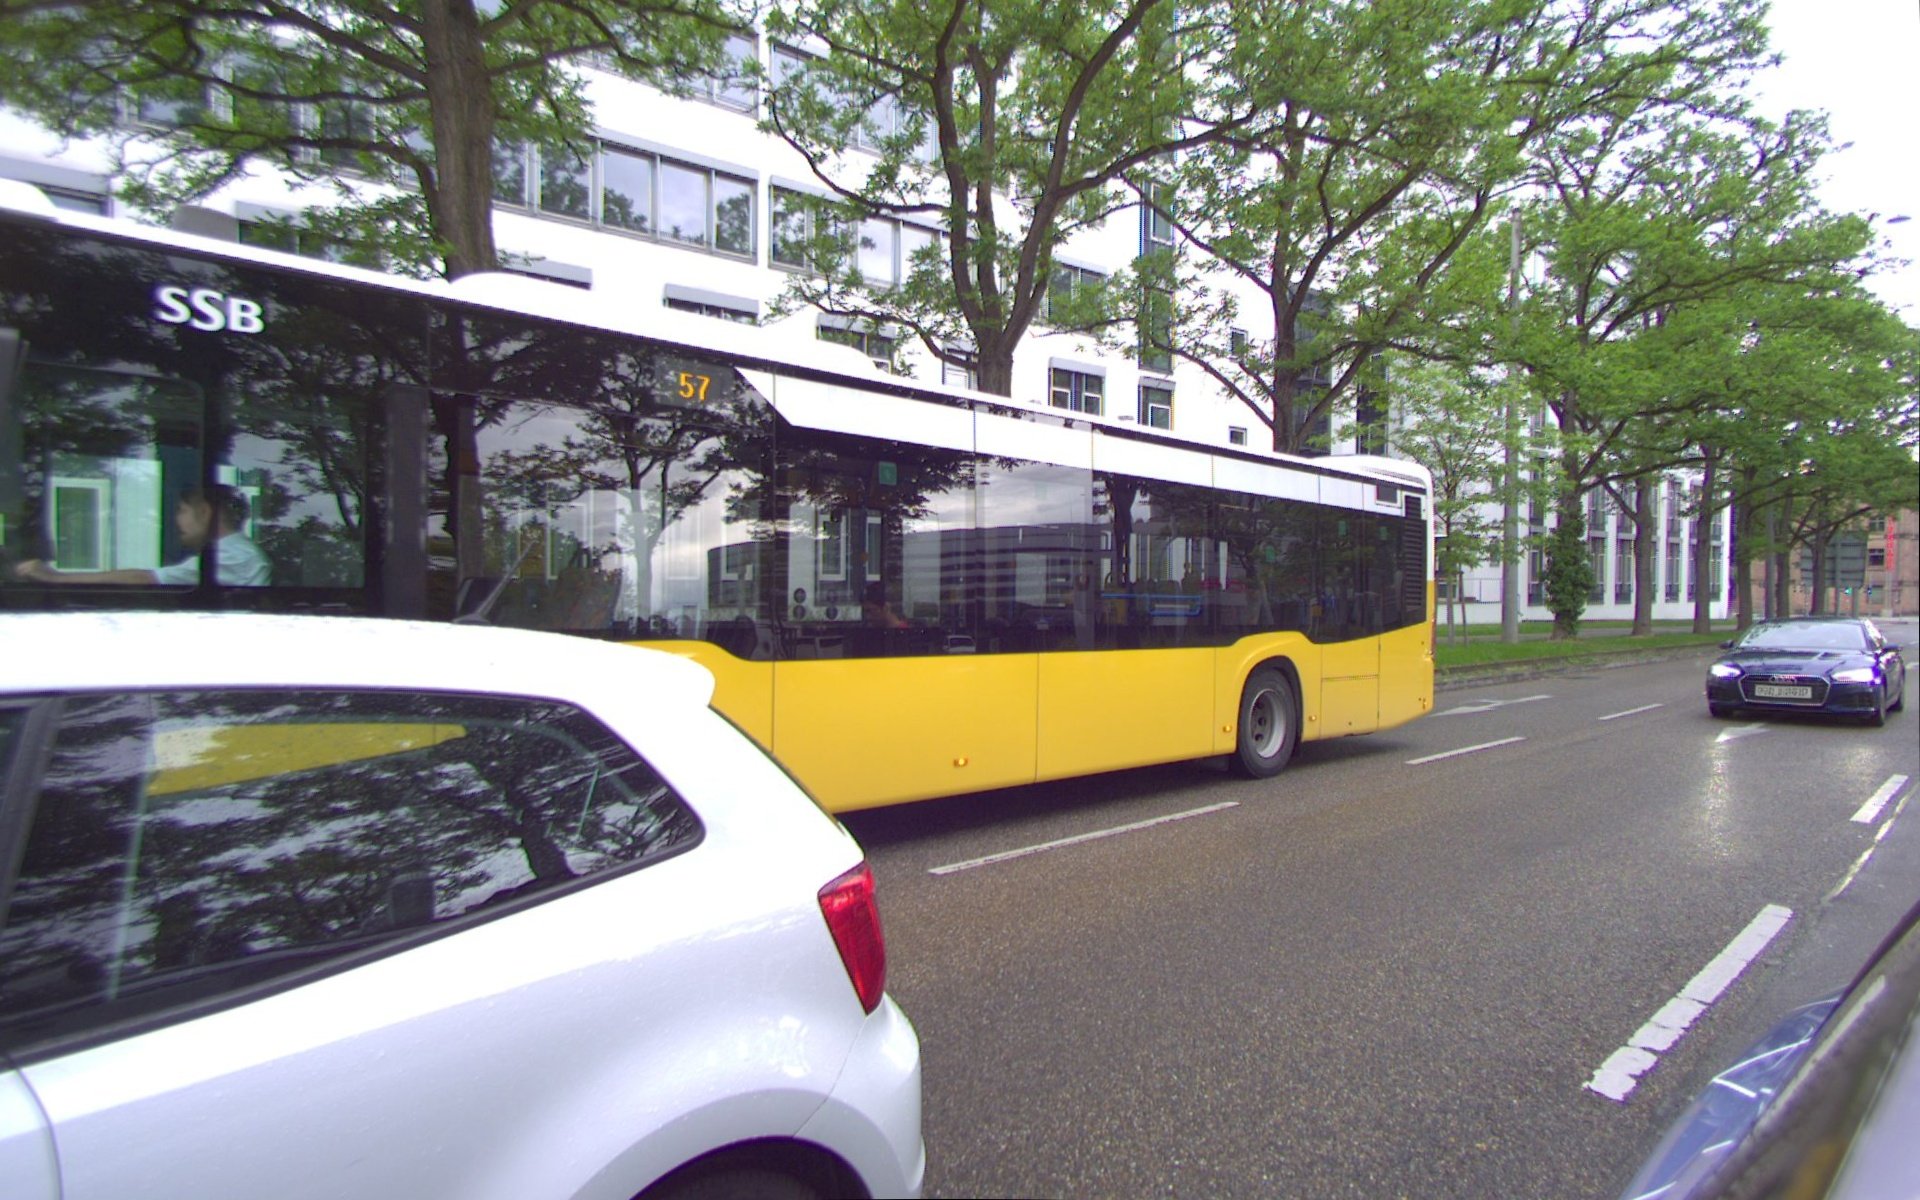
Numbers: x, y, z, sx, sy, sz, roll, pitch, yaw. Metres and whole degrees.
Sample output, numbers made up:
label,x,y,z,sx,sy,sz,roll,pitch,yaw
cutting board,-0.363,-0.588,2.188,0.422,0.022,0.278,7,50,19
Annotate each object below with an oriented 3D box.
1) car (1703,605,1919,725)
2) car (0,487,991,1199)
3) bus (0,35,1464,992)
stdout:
label,x,y,z,sx,sy,sz,roll,pitch,yaw
car,12.130,0.794,14.184,4.257,1.371,1.876,-1,0,-41
car,-1.915,0.627,1.330,3.746,1.450,1.743,-1,0,-42
bus,0.050,-0.248,8.034,11.933,3.192,2.731,1,-1,-41
